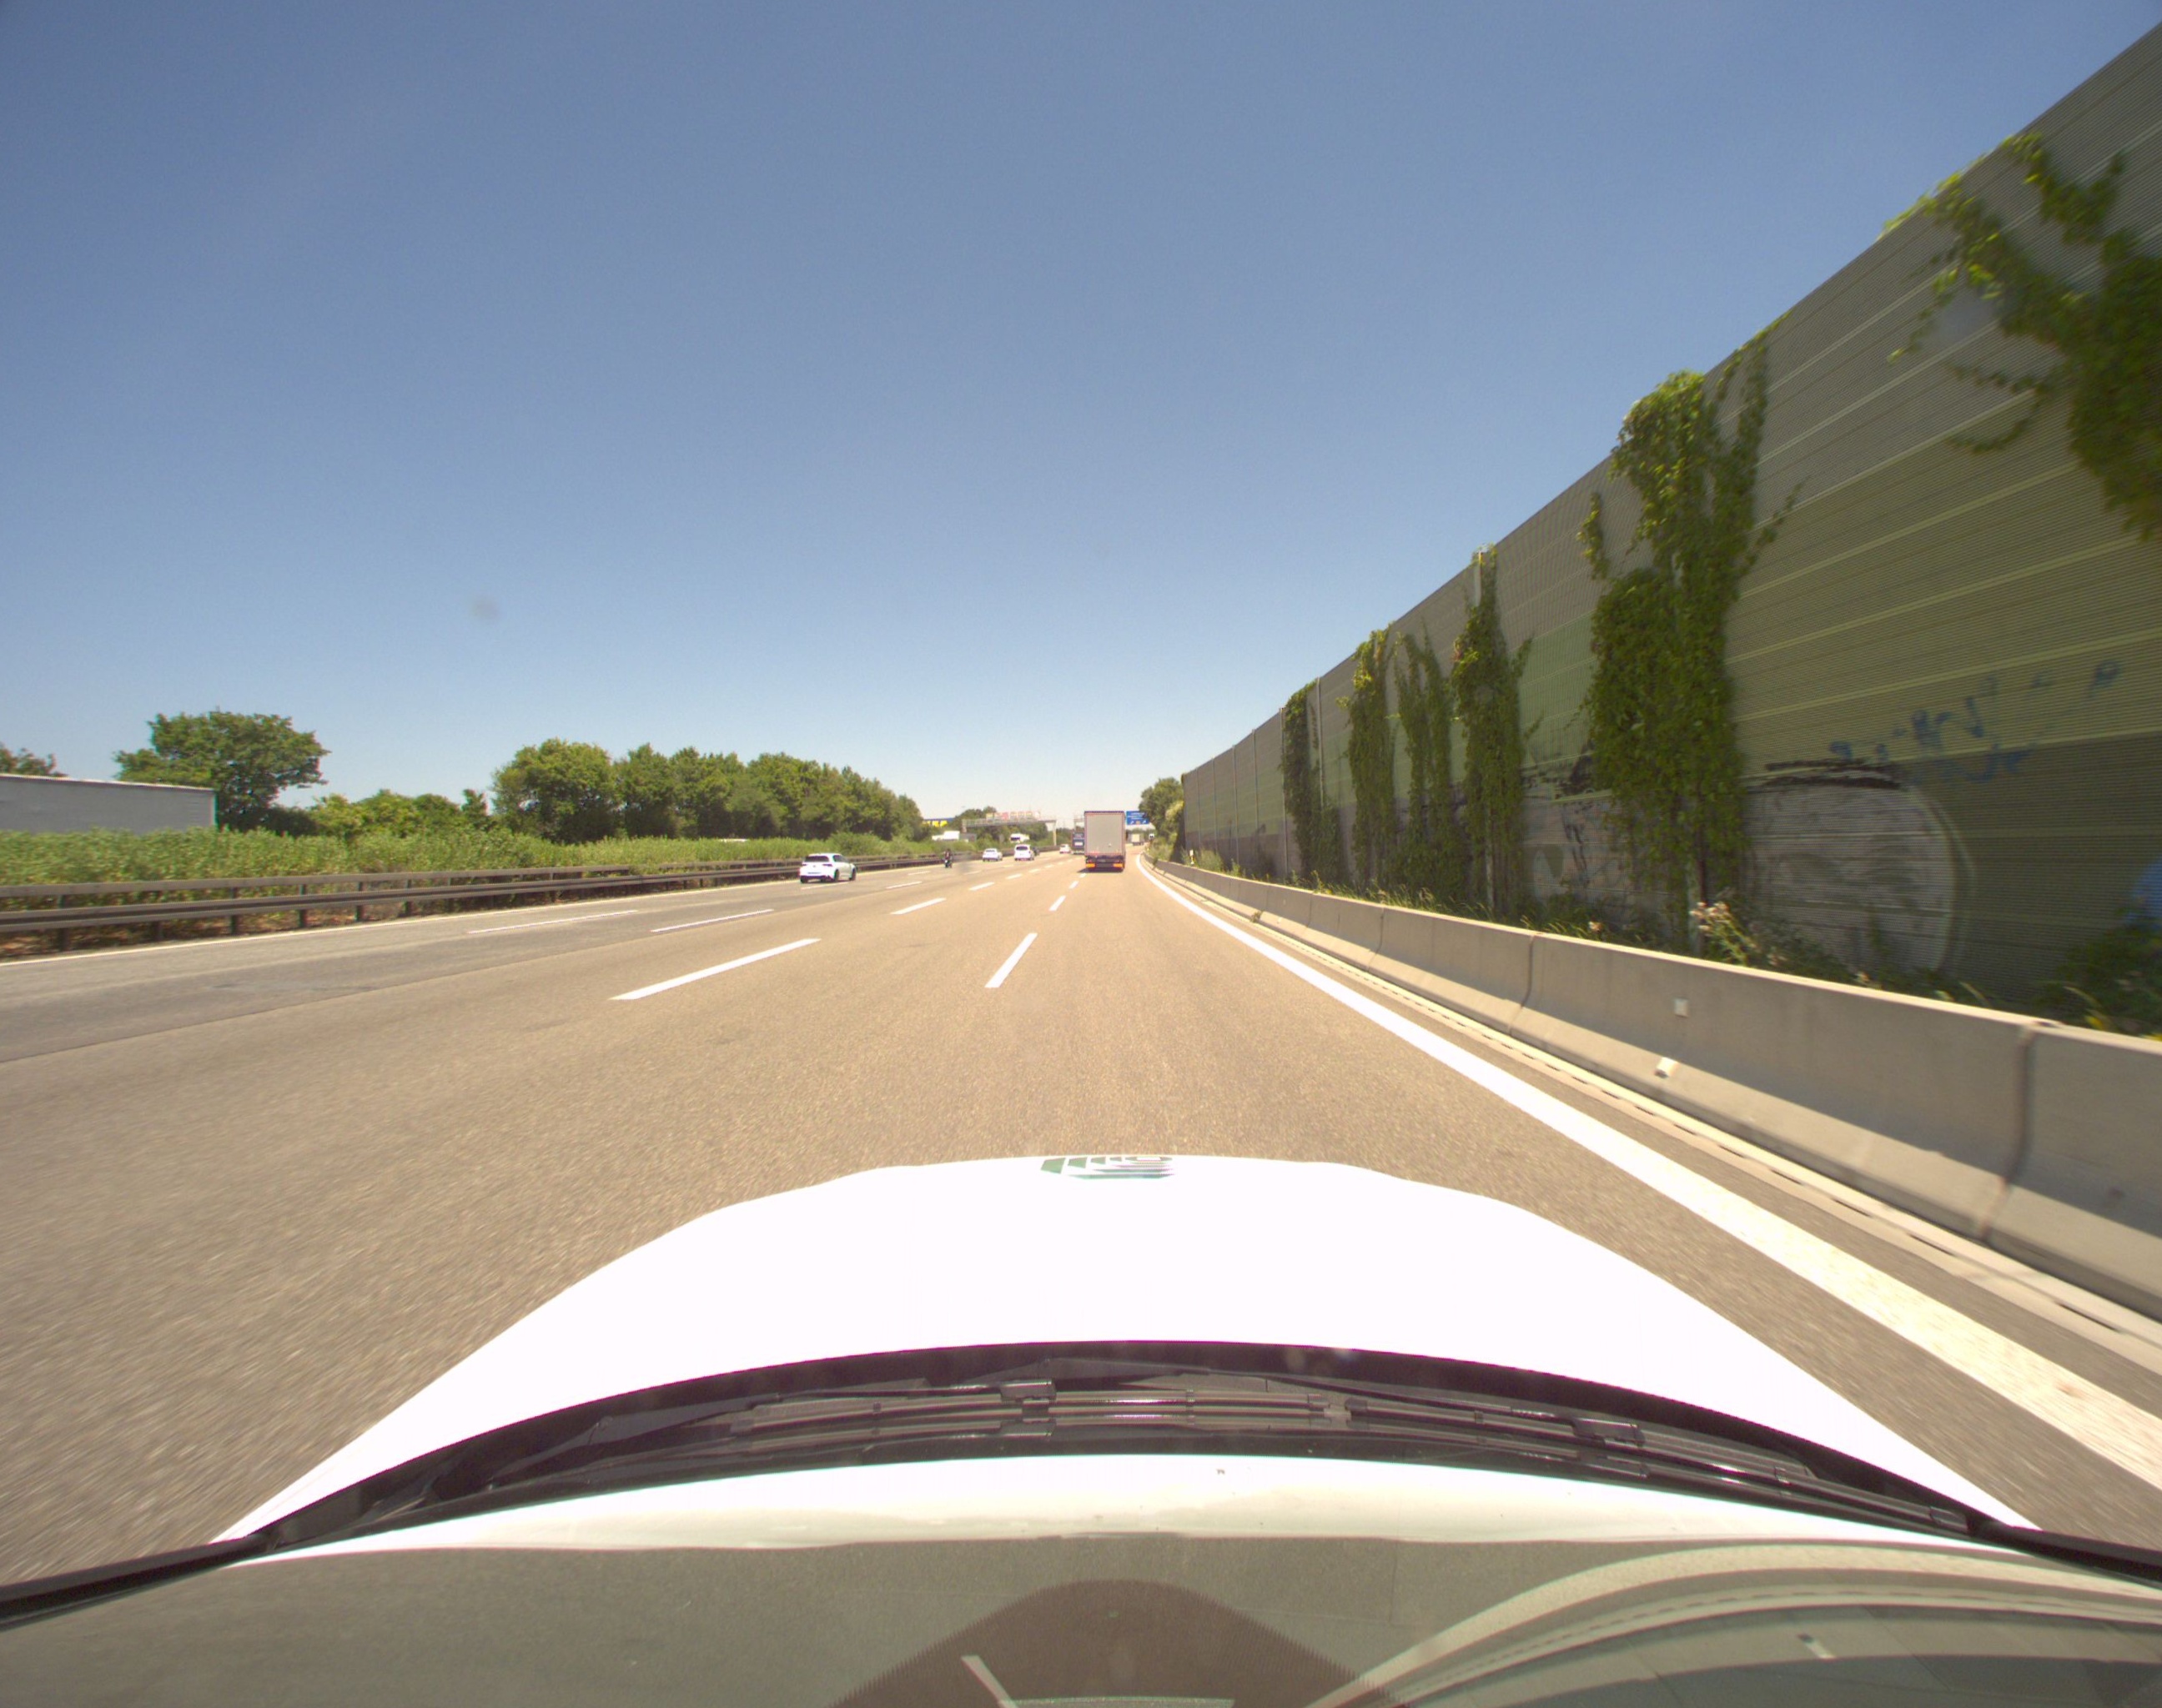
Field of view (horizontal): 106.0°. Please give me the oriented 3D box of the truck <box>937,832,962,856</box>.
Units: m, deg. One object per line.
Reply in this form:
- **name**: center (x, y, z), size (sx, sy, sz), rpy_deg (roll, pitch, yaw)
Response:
- **truck**: center (-22.899, -1.752, 142.417), size (3.319, 4.089, 4.832), rpy_deg (0, 0, 3)

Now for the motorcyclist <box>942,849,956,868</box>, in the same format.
- **motorcyclist**: center (-10.967, 0.386, 67.795), size (0.890, 1.597, 1.299), rpy_deg (-1, -1, 0)

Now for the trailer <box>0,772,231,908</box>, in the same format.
- **trailer**: center (-32.853, -0.397, 23.236), size (2.528, 3.947, 13.726), rpy_deg (-1, 0, 2)

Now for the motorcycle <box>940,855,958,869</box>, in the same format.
- **motorcycle**: center (-10.959, 0.644, 67.742), size (0.909, 1.089, 2.850), rpy_deg (-1, 0, 1)

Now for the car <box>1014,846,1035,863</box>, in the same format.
- **car**: center (-6.739, 0.038, 97.172), size (1.923, 1.851, 4.695), rpy_deg (-2, 0, 2)

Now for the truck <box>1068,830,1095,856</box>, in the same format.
- **truck**: center (0.129, -1.994, 141.964), size (3.731, 4.270, 14.511), rpy_deg (0, 1, 4)

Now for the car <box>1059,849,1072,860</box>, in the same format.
- **car**: center (-2.855, 0.049, 148.937), size (1.896, 1.851, 4.635), rpy_deg (-2, 0, 3)

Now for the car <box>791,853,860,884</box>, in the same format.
- **car**: center (-12.691, 0.684, 40.806), size (1.775, 1.440, 4.671), rpy_deg (-1, 0, 2)

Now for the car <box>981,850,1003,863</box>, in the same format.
- **car**: center (-10.356, 0.348, 95.015), size (1.869, 1.440, 5.128), rpy_deg (-1, -1, 2)

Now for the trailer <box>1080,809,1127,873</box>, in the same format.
- **trailer**: center (1.610, -0.850, 57.916), size (2.917, 4.015, 12.043), rpy_deg (-2, 0, 2)
